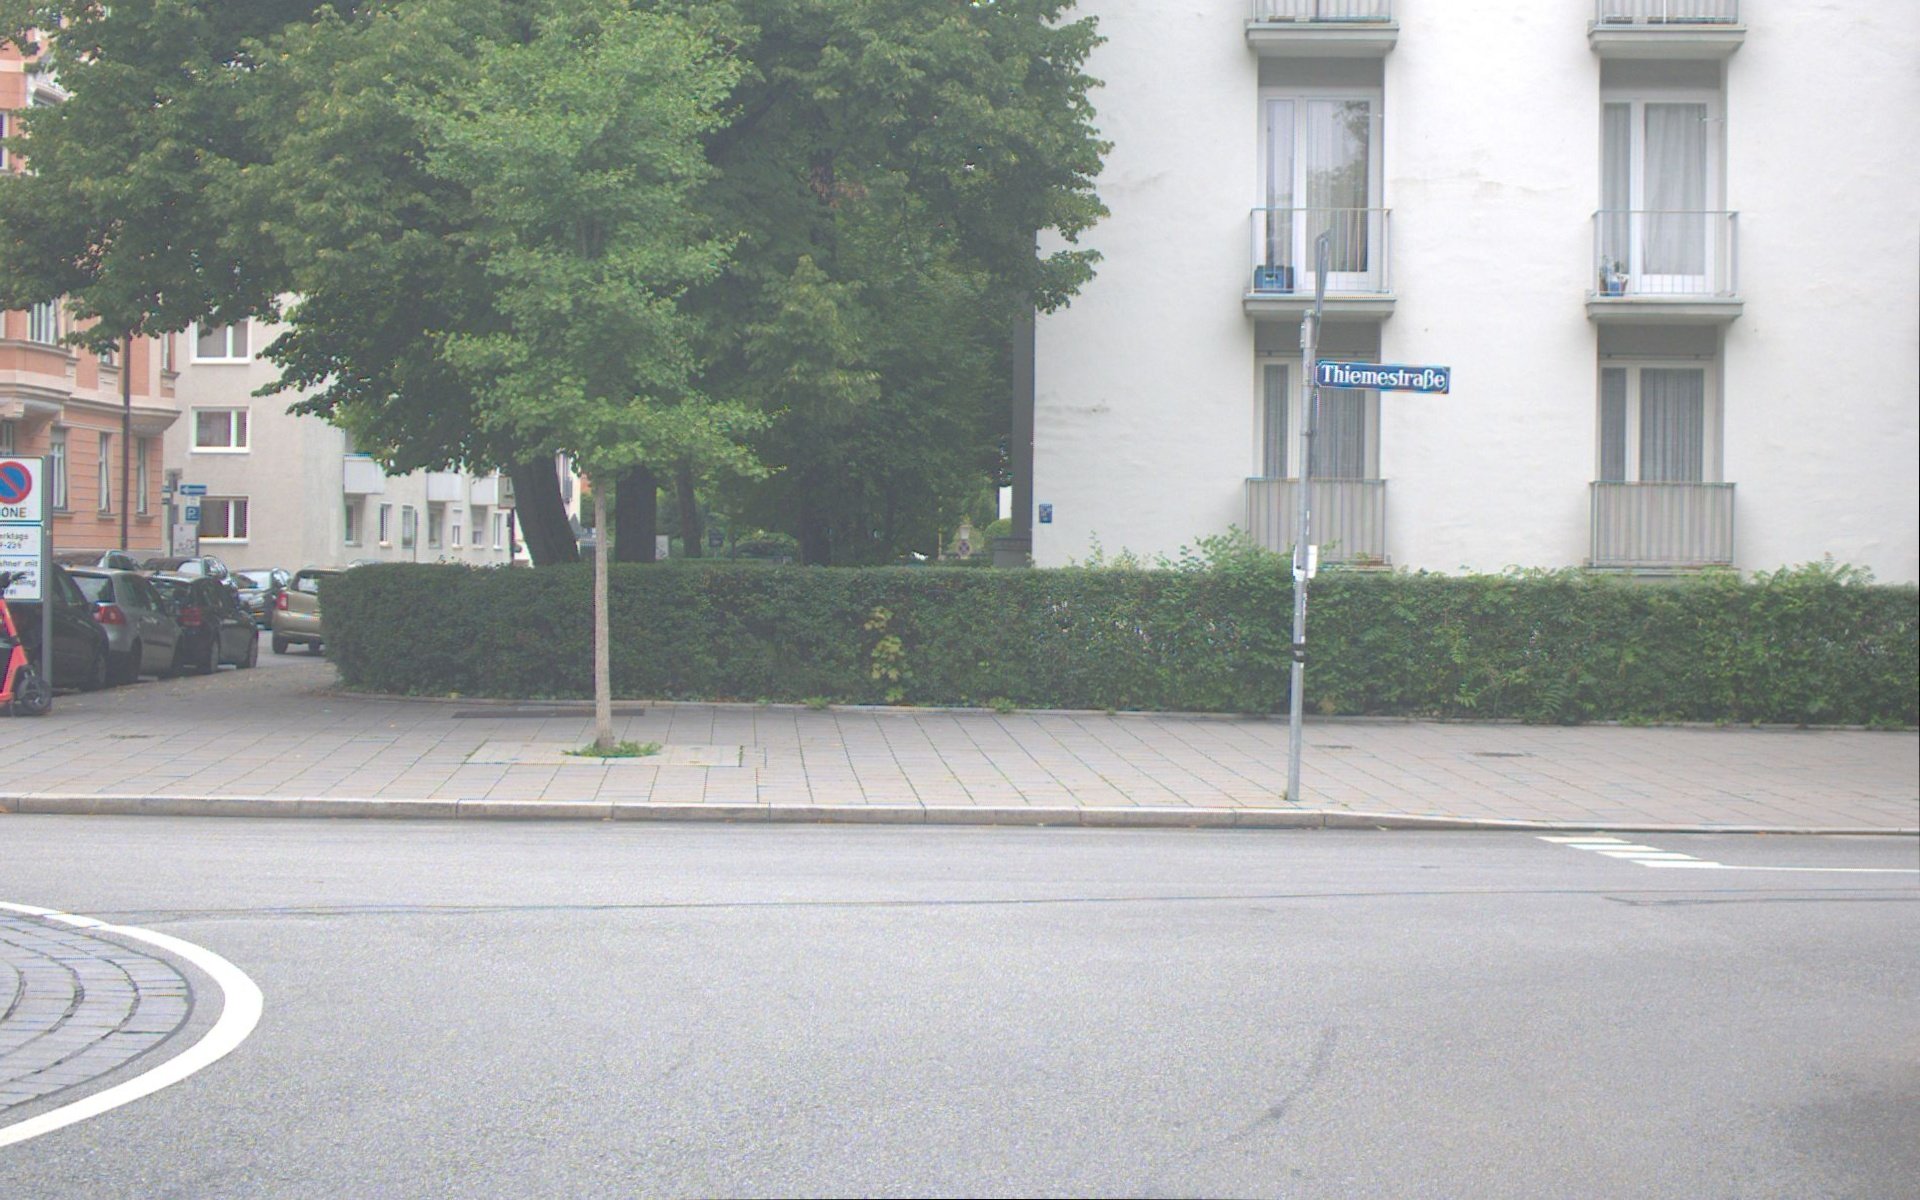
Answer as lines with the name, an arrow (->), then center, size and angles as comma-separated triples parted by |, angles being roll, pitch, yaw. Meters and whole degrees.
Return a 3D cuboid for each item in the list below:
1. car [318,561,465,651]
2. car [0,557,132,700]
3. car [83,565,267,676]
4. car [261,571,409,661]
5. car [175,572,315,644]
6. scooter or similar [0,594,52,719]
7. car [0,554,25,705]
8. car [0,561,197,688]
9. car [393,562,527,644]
car -> -10.592, 0.090, 64.311 | 1.835, 1.629, 4.115 | 0, 0, 4
car -> -10.536, 0.286, 38.205 | 1.793, 1.500, 4.235 | 0, 0, -2
car -> -11.037, 0.261, 48.587 | 1.793, 1.500, 4.115 | 0, 0, -2
car -> -10.809, 0.252, 59.703 | 1.835, 1.500, 4.115 | 0, 0, 0
car -> -16.451, 0.159, 79.260 | 1.976, 1.575, 4.407 | 1, 1, 4
scooter or similar -> -8.501, 0.491, 30.093 | 0.998, 1.085, 0.391 | 1, 0, -24
car -> -10.398, 0.304, 32.942 | 1.818, 1.500, 4.423 | 0, 0, -2
car -> -10.785, 0.273, 42.795 | 1.793, 1.500, 4.115 | 0, 0, -2
car -> -10.135, 0.041, 69.960 | 1.835, 1.629, 3.819 | 0, 0, 5
